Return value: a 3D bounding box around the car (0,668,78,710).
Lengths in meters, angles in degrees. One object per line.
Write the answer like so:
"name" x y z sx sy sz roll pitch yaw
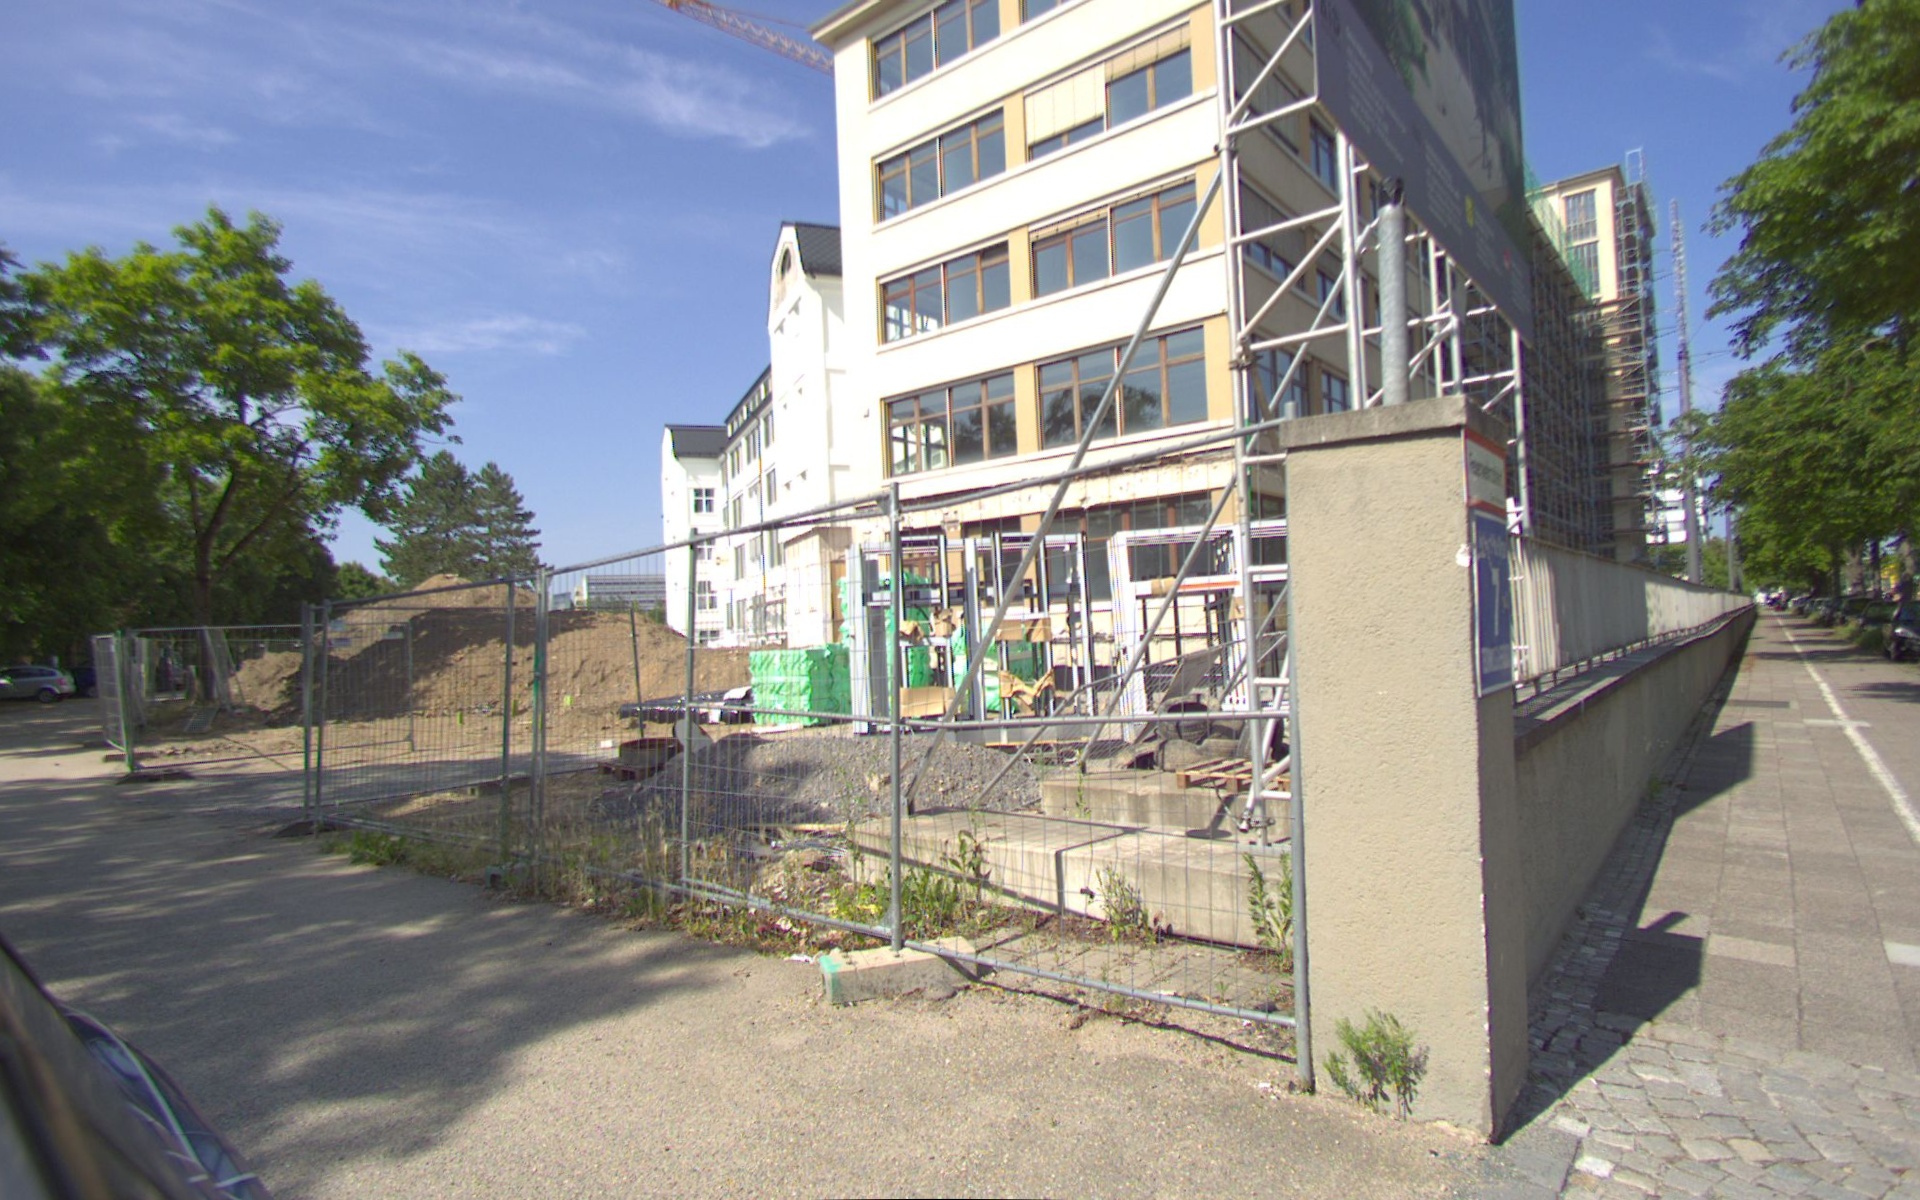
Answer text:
"car" -38.257 3.620 40.653 3.932 1.519 2.006 -1 -2 -30

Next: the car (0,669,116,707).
"car" -40.666 3.931 45.479 3.932 1.453 2.006 -1 -2 -30

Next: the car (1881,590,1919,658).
"car" 22.618 0.486 23.225 1.819 1.464 3.948 -4 -2 38
